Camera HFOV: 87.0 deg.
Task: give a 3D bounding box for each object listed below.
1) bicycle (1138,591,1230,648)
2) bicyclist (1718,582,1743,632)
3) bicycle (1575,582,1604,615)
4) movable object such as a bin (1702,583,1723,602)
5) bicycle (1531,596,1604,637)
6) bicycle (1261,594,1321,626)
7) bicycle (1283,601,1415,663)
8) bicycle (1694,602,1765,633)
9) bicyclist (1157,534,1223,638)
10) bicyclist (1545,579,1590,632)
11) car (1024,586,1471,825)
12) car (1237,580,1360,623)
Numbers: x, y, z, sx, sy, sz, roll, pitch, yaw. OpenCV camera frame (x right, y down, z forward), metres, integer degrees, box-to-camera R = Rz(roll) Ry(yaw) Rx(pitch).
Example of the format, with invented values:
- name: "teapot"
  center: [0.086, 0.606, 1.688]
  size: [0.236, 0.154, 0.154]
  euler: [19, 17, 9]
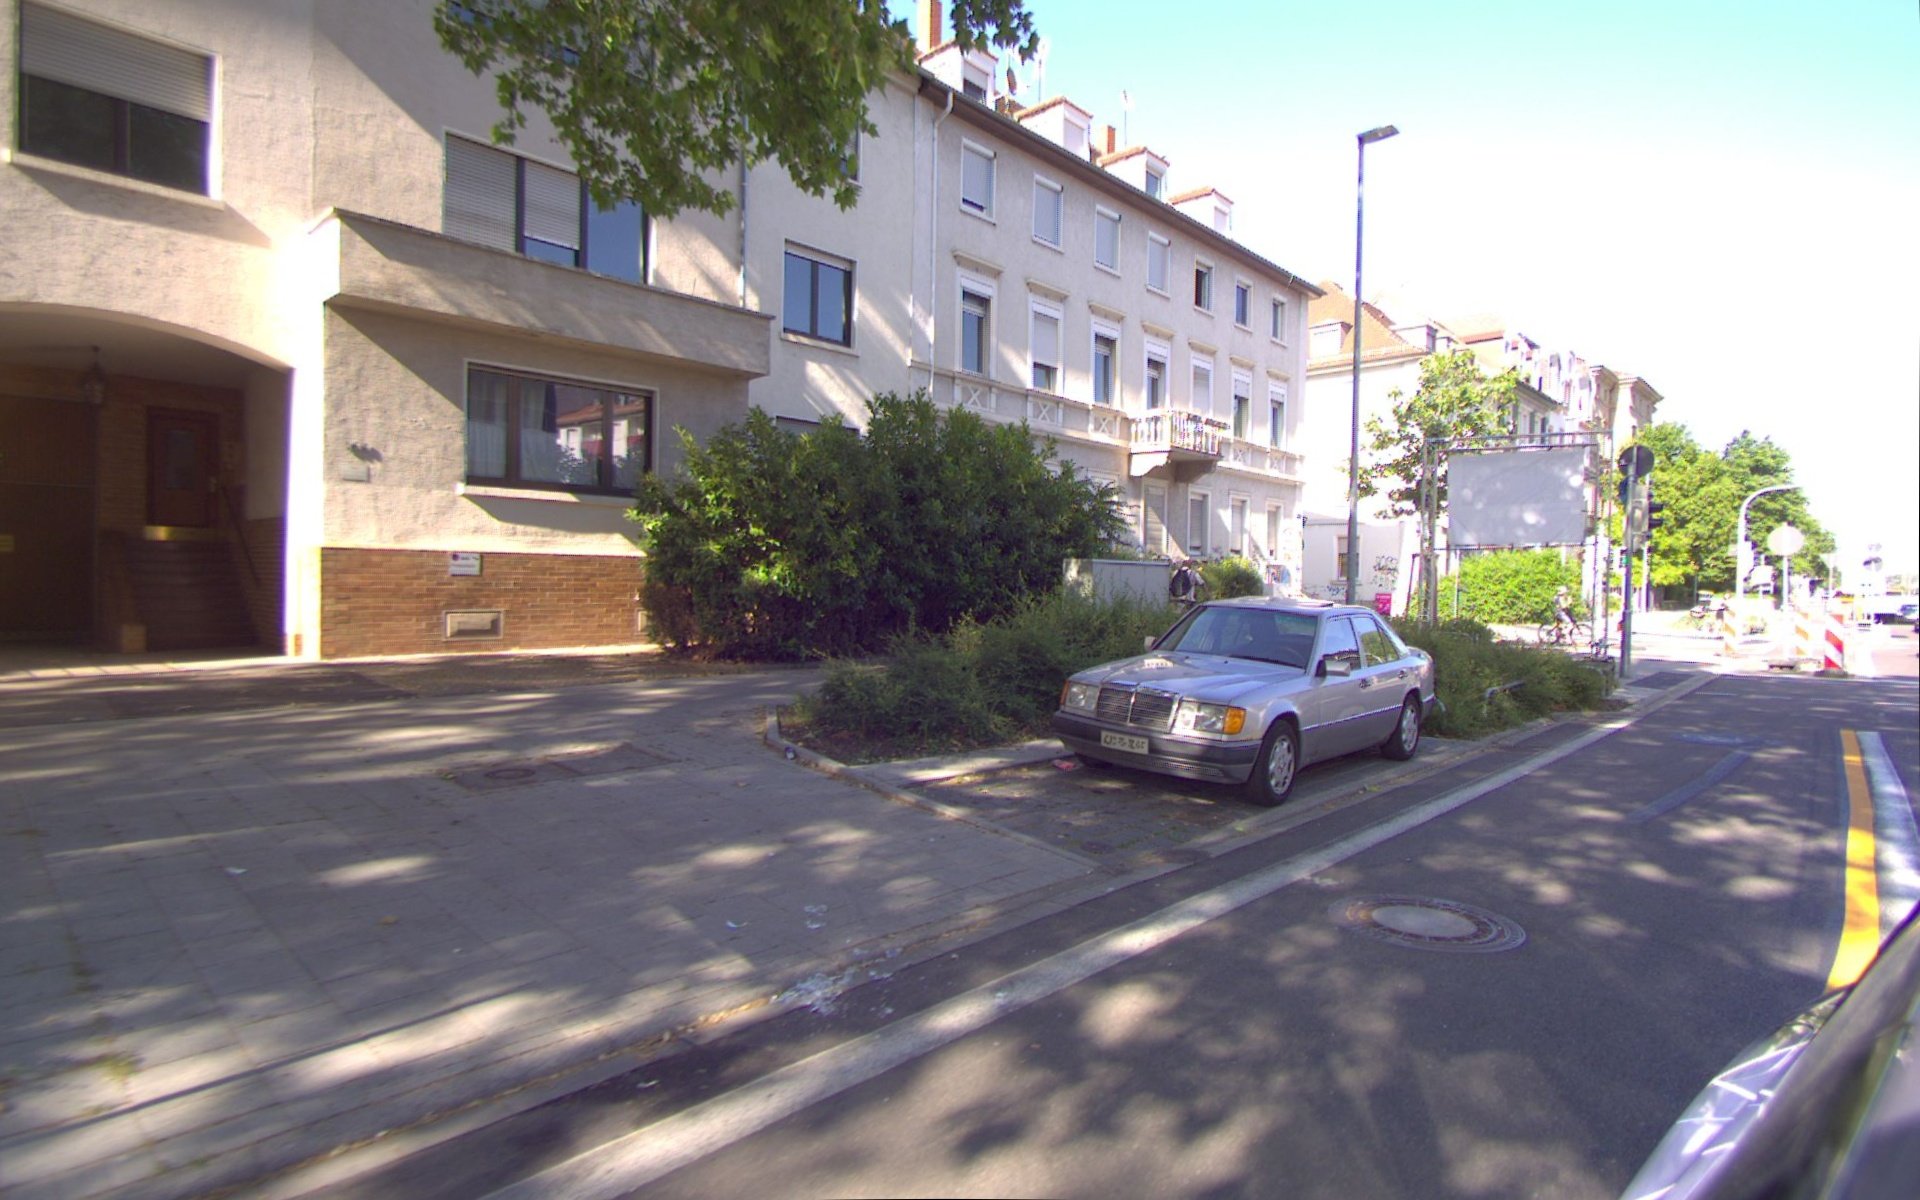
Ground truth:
- name: "bicycle"
  center: [4.090, 0.329, 18.383]
  size: [1.793, 0.978, 0.783]
  euler: [0, 1, -45]
- name: "bicyclist"
  center: [27.246, 0.251, 35.772]
  size: [0.603, 1.730, 0.845]
  euler: [1, 1, 43]
- name: "bicycle"
  center: [28.644, -0.050, 46.016]
  size: [0.707, 1.462, 2.453]
  euler: [0, -1, 42]
- name: "movable object such as a bin"
  center: [59.887, -0.607, 80.550]
  size: [0.962, 1.415, 1.279]
  euler: [3, 1, 20]
- name: "bicycle"
  center: [17.893, 0.491, 29.819]
  size: [1.656, 1.111, 0.690]
  euler: [2, 1, 3]
- name: "bicycle"
  center: [11.723, 0.342, 35.917]
  size: [0.569, 1.094, 1.998]
  euler: [0, 1, -44]
- name: "bicycle"
  center: [6.579, 0.531, 17.134]
  size: [2.087, 1.017, 0.590]
  euler: [0, 1, -12]
- name: "bicycle"
  center: [27.238, 0.605, 35.851]
  size: [1.962, 1.038, 0.595]
  euler: [0, -1, 43]
- name: "bicyclist"
  center: [4.211, -0.261, 18.525]
  size: [0.724, 1.843, 1.053]
  euler: [1, 1, 44]
- name: "bicyclist"
  center: [17.926, 0.167, 29.868]
  size: [0.855, 1.518, 0.726]
  euler: [1, 1, 1]
- name: "car"
  center: [2.781, 0.638, 8.855]
  size: [1.851, 1.498, 4.868]
  euler: [1, 1, 41]
- name: "car"
  center: [13.451, 0.008, 40.385]
  size: [1.950, 1.639, 4.257]
  euler: [-1, 1, -41]
